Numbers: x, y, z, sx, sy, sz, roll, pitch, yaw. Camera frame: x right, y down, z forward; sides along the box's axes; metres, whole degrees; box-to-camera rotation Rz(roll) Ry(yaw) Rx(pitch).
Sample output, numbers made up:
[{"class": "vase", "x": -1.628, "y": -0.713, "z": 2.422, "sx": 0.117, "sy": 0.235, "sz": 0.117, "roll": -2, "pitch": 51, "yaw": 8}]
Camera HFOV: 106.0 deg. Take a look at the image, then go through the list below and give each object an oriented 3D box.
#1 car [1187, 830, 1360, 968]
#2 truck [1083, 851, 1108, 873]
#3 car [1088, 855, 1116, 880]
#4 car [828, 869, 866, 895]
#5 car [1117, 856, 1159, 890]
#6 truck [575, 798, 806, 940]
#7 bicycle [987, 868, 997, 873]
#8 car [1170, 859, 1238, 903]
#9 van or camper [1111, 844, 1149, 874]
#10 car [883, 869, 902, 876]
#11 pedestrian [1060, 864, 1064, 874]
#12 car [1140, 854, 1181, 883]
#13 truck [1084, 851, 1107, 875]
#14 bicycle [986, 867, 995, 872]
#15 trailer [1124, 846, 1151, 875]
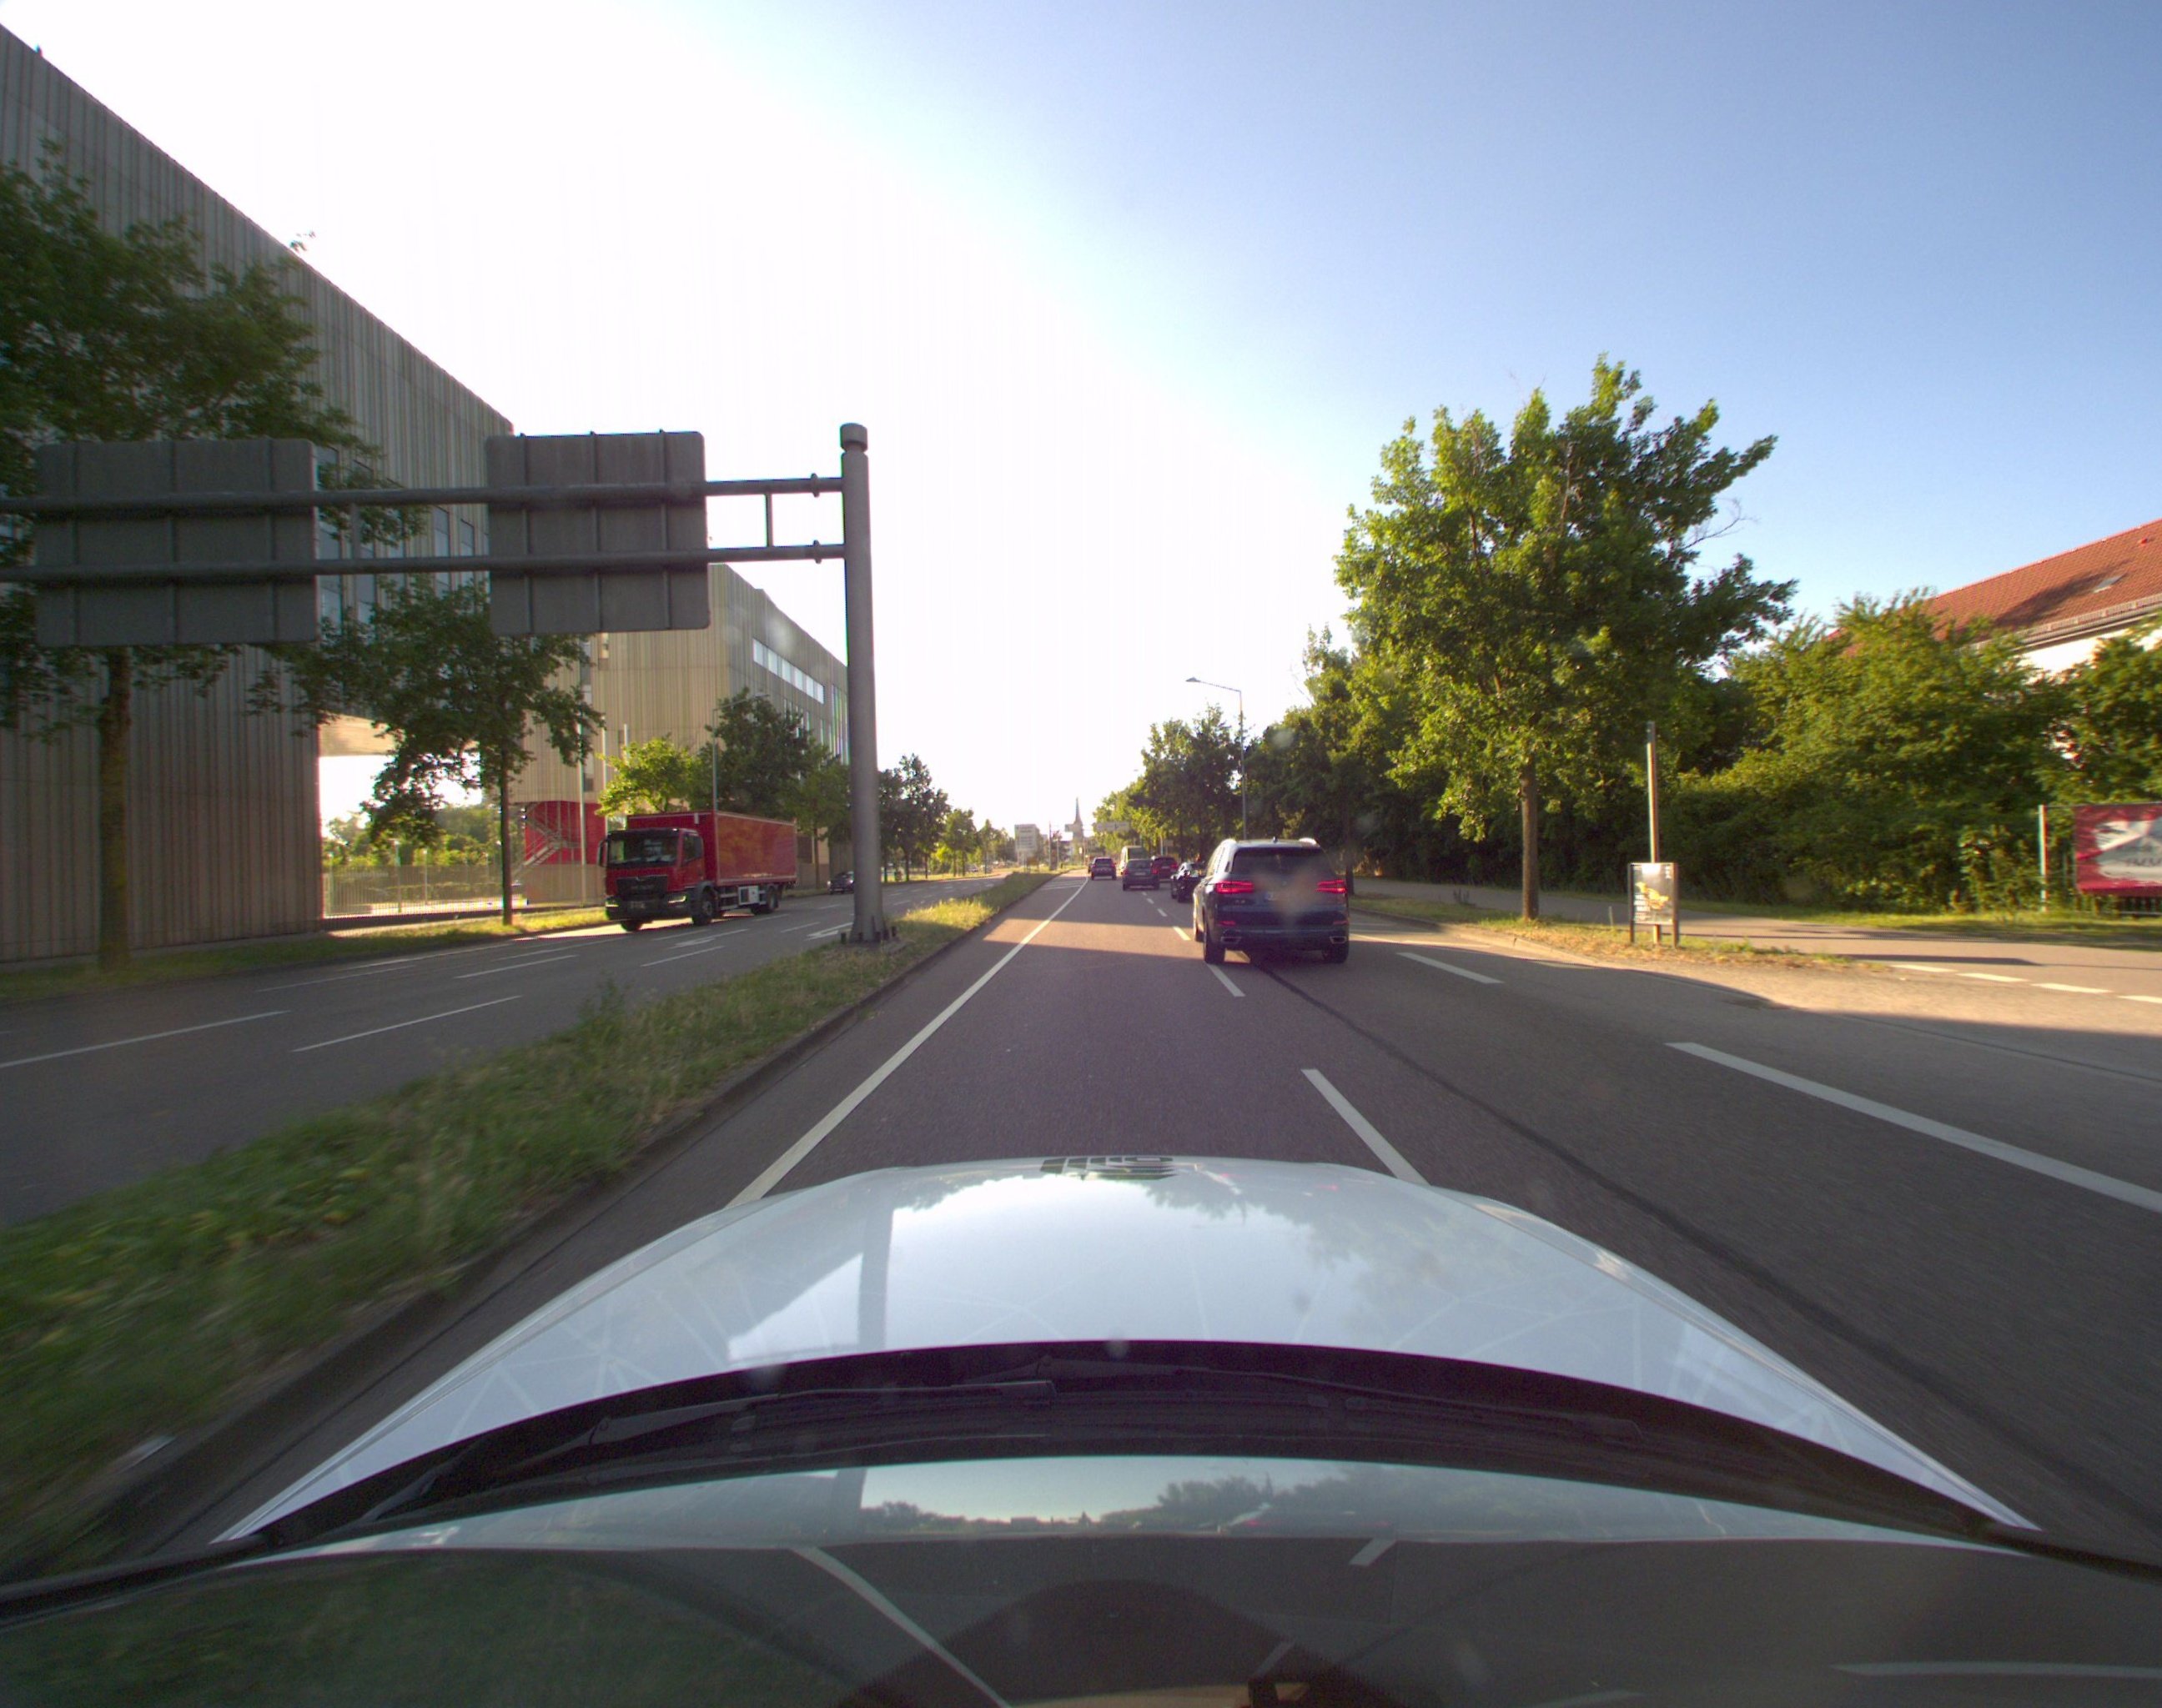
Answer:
[{"class": "car", "x": 2.770, "y": 0.622, "z": 12.801, "sx": 1.946, "sy": 1.727, "sz": 4.705, "roll": -1, "pitch": -1, "yaw": 5}, {"class": "truck", "x": 1.771, "y": 0.954, "z": 99.465, "sx": 2.574, "sy": 2.558, "sz": 6.245, "roll": -2, "pitch": -1, "yaw": -3}, {"class": "car", "x": 1.492, "y": 1.001, "z": 59.049, "sx": 1.899, "sy": 1.660, "sz": 4.000, "roll": -2, "pitch": -1, "yaw": 1}, {"class": "car", "x": -14.841, "y": 1.730, "z": 51.806, "sx": 1.593, "sy": 1.512, "sz": 3.860, "roll": -2, "pitch": 0, "yaw": -5}, {"class": "car", "x": 2.695, "y": 0.898, "z": 38.941, "sx": 1.741, "sy": 1.473, "sz": 3.820, "roll": -2, "pitch": -1, "yaw": 1}, {"class": "truck", "x": -12.484, "y": 0.444, "z": 27.549, "sx": 2.990, "sy": 3.811, "sz": 10.084, "roll": -2, "pitch": 0, "yaw": -1}, {"class": "bicycle", "x": -19.685, "y": 3.552, "z": 180.102, "sx": 1.898, "sy": 1.019, "sz": 0.505, "roll": -2, "pitch": -1, "yaw": 6}, {"class": "car", "x": 4.125, "y": 0.876, "z": 28.028, "sx": 1.847, "sy": 1.338, "sz": 4.628, "roll": -1, "pitch": -1, "yaw": 3}, {"class": "van or camper", "x": 4.506, "y": 0.451, "z": 76.245, "sx": 2.283, "sy": 2.629, "sz": 6.565, "roll": -1, "pitch": 0, "yaw": -8}, {"class": "car", "x": -44.032, "y": 4.313, "z": 190.061, "sx": 3.730, "sy": 1.508, "sz": 1.852, "roll": -2, "pitch": -1, "yaw": -43}, {"class": "pedestrian", "x": -4.188, "y": 3.258, "z": 176.840, "sx": 0.788, "sy": 2.014, "sz": 0.700, "roll": -2, "pitch": -1, "yaw": -7}, {"class": "car", "x": 4.792, "y": 0.854, "z": 49.359, "sx": 1.745, "sy": 1.621, "sz": 3.812, "roll": 1, "pitch": 0, "yaw": -6}, {"class": "truck", "x": 1.805, "y": 1.074, "z": 98.594, "sx": 2.209, "sy": 2.651, "sz": 4.781, "roll": -2, "pitch": -1, "yaw": 6}, {"class": "bicycle", "x": -19.818, "y": 3.389, "z": 178.926, "sx": 1.894, "sy": 1.020, "sz": 0.506, "roll": -1, "pitch": -1, "yaw": 15}, {"class": "trailer", "x": 4.847, "y": 0.585, "z": 70.346, "sx": 2.083, "sy": 2.400, "sz": 3.500, "roll": -1, "pitch": -1, "yaw": 0}]
